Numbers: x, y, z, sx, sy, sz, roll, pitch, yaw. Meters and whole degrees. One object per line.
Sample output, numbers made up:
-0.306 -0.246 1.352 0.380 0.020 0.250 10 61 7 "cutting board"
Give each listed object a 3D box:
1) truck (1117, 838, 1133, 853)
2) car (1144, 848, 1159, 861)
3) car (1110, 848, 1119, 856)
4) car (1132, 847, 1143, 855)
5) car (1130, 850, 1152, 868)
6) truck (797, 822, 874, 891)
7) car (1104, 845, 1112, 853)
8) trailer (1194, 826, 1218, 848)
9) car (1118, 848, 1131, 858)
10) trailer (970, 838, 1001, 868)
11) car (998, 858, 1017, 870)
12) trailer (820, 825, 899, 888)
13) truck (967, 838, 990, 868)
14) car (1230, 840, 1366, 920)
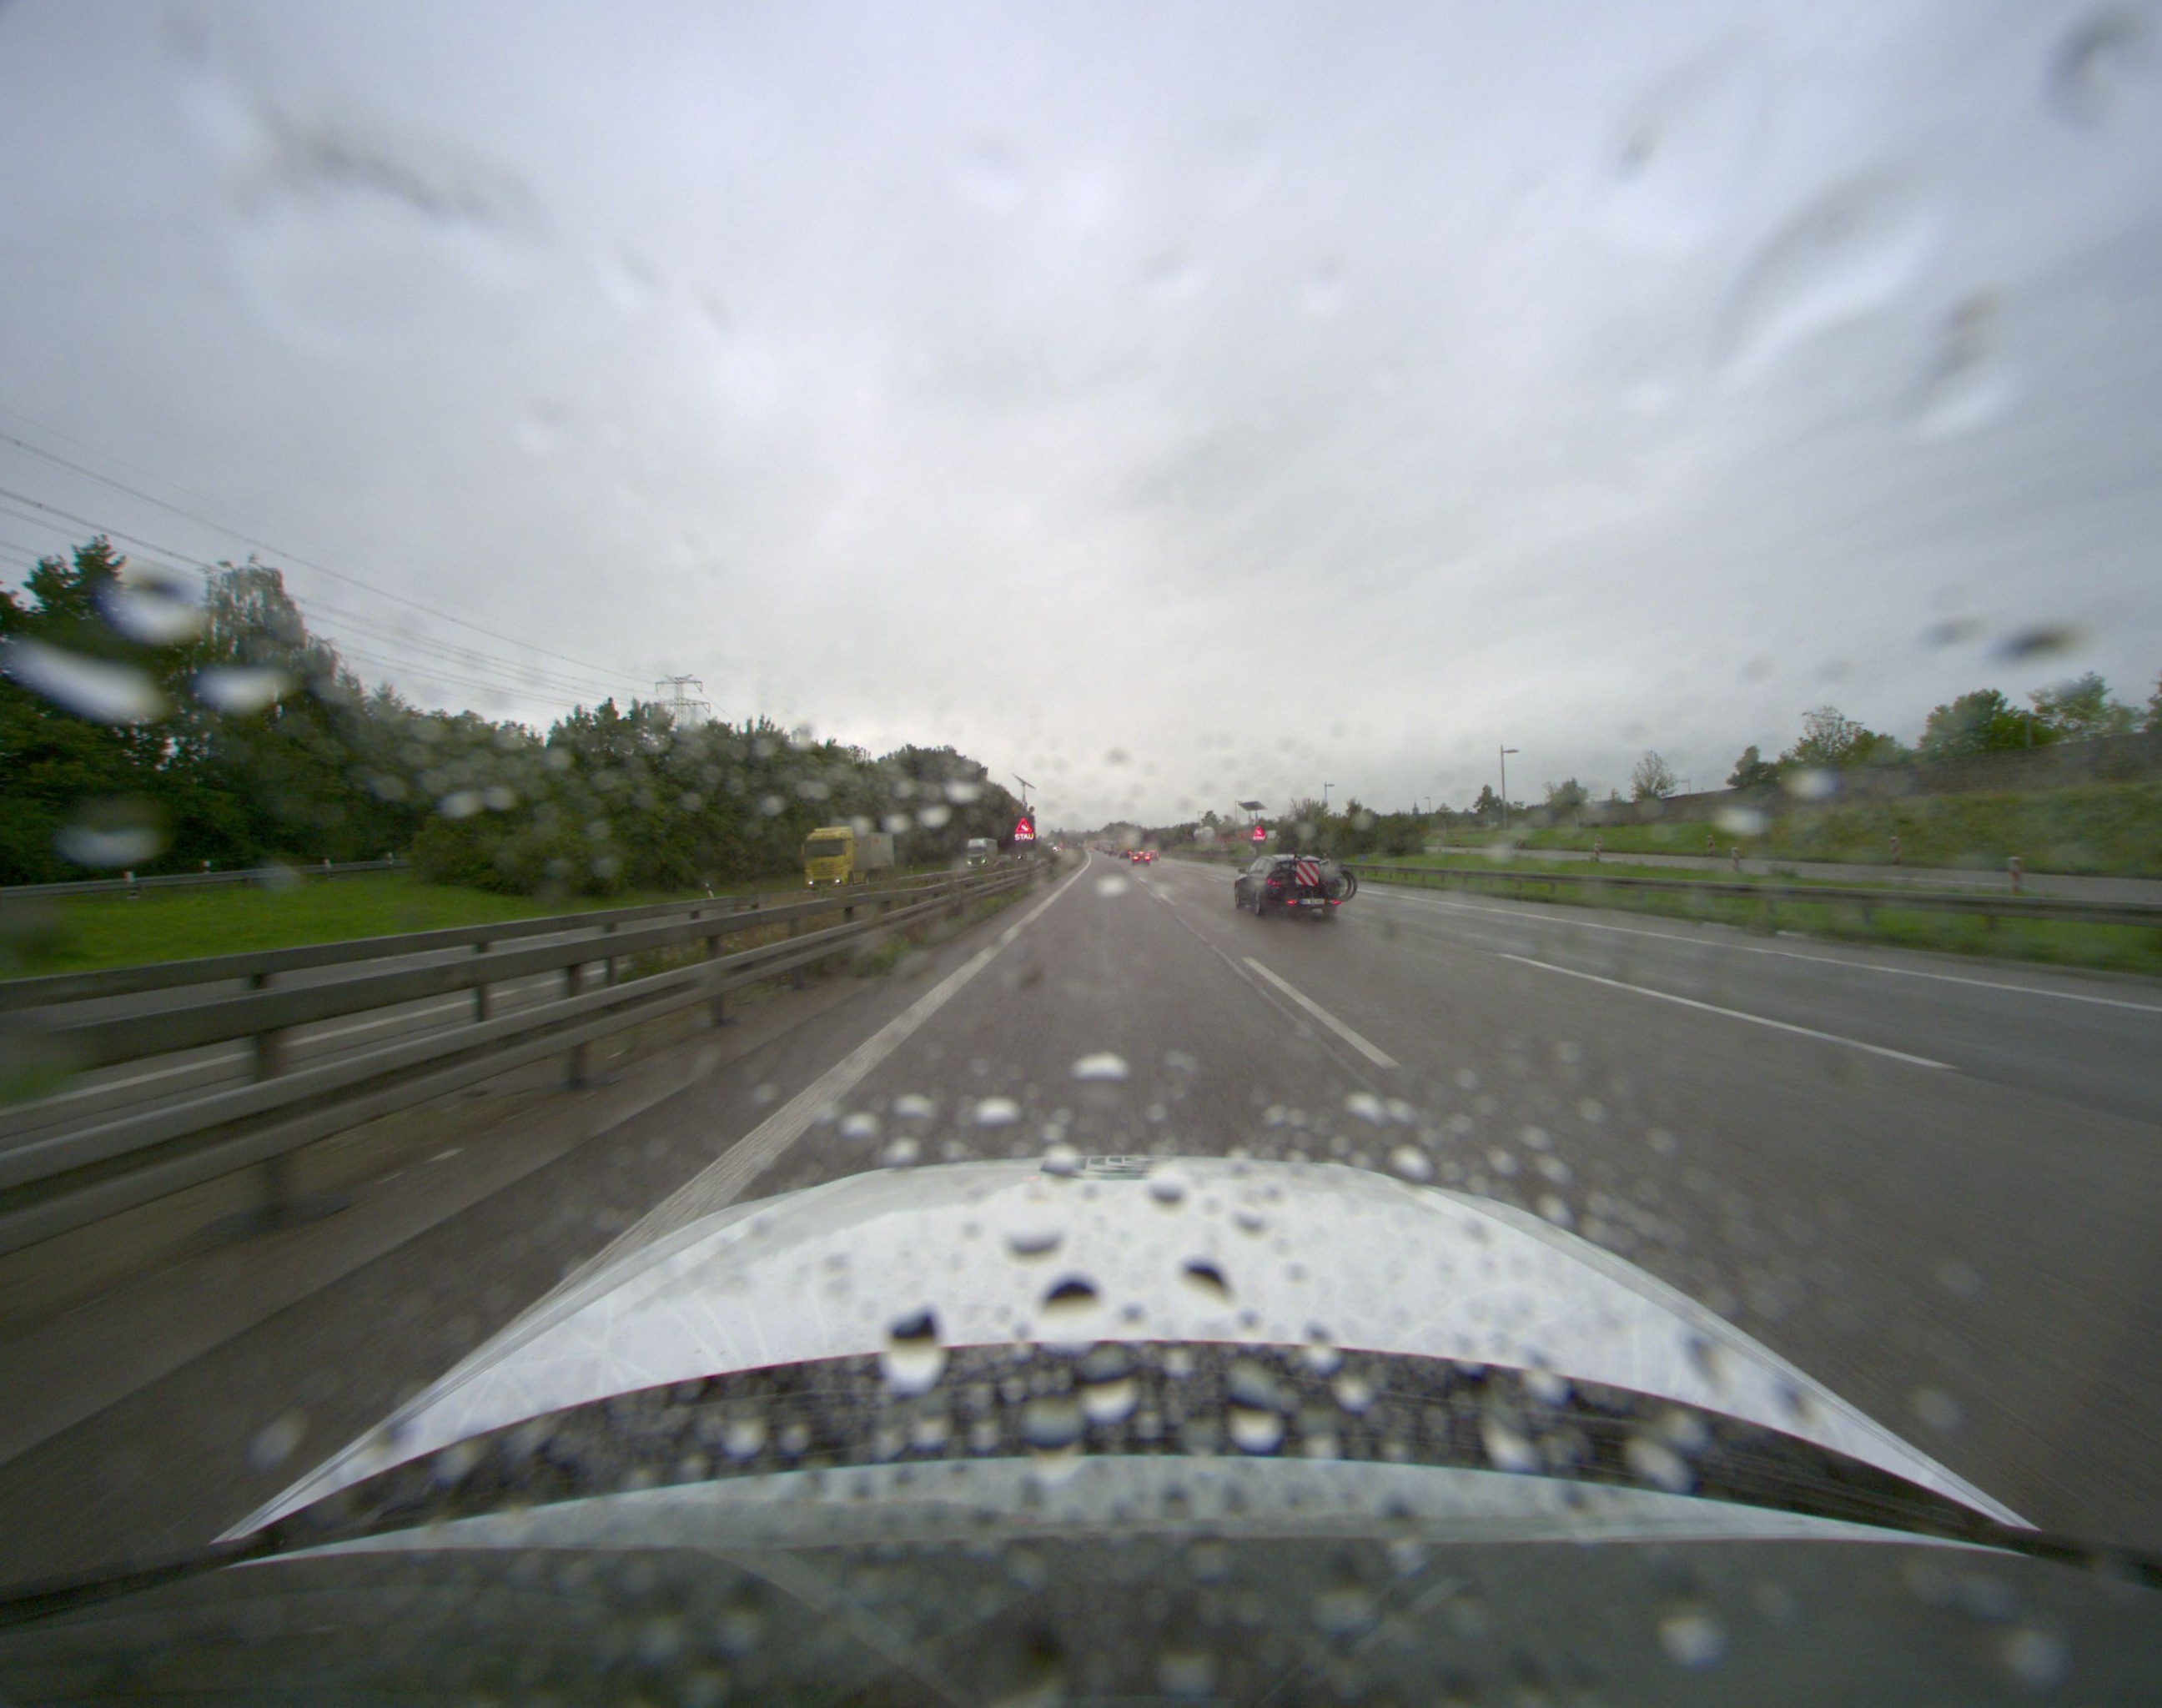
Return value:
11.832 -2.281 220.614 3.910 3.981 12.242 -2 0 1 "truck"
10.634 0.040 123.119 1.986 1.761 4.001 -2 0 1 "car"
7.650 -0.514 185.823 1.986 1.628 4.001 -2 0 1 "car"
12.312 -0.678 177.905 1.986 1.628 4.001 -2 0 1 "car"
6.182 0.461 84.800 1.986 1.761 4.001 -2 0 1 "car"
-15.792 0.145 52.779 2.752 4.055 6.158 -3 0 1 "truck"
7.942 -1.541 239.330 1.986 2.205 4.001 -2 0 1 "car"
24.824 -3.300 162.530 2.974 4.156 12.958 -2 0 1 "trailer"
7.655 -0.220 143.884 1.986 1.628 4.001 -2 0 1 "car"
-14.408 -0.192 124.100 2.634 4.237 13.916 -2 0 2 "trailer"
-9.796 1.313 108.853 1.868 1.493 4.516 -3 0 2 "car"
-15.671 0.154 58.529 2.752 4.055 9.203 -3 0 1 "trailer"
-14.631 -0.156 116.374 2.634 4.237 4.001 -2 0 1 "truck"
5.111 0.581 20.036 2.050 1.671 5.524 -1 -1 2 "car"
